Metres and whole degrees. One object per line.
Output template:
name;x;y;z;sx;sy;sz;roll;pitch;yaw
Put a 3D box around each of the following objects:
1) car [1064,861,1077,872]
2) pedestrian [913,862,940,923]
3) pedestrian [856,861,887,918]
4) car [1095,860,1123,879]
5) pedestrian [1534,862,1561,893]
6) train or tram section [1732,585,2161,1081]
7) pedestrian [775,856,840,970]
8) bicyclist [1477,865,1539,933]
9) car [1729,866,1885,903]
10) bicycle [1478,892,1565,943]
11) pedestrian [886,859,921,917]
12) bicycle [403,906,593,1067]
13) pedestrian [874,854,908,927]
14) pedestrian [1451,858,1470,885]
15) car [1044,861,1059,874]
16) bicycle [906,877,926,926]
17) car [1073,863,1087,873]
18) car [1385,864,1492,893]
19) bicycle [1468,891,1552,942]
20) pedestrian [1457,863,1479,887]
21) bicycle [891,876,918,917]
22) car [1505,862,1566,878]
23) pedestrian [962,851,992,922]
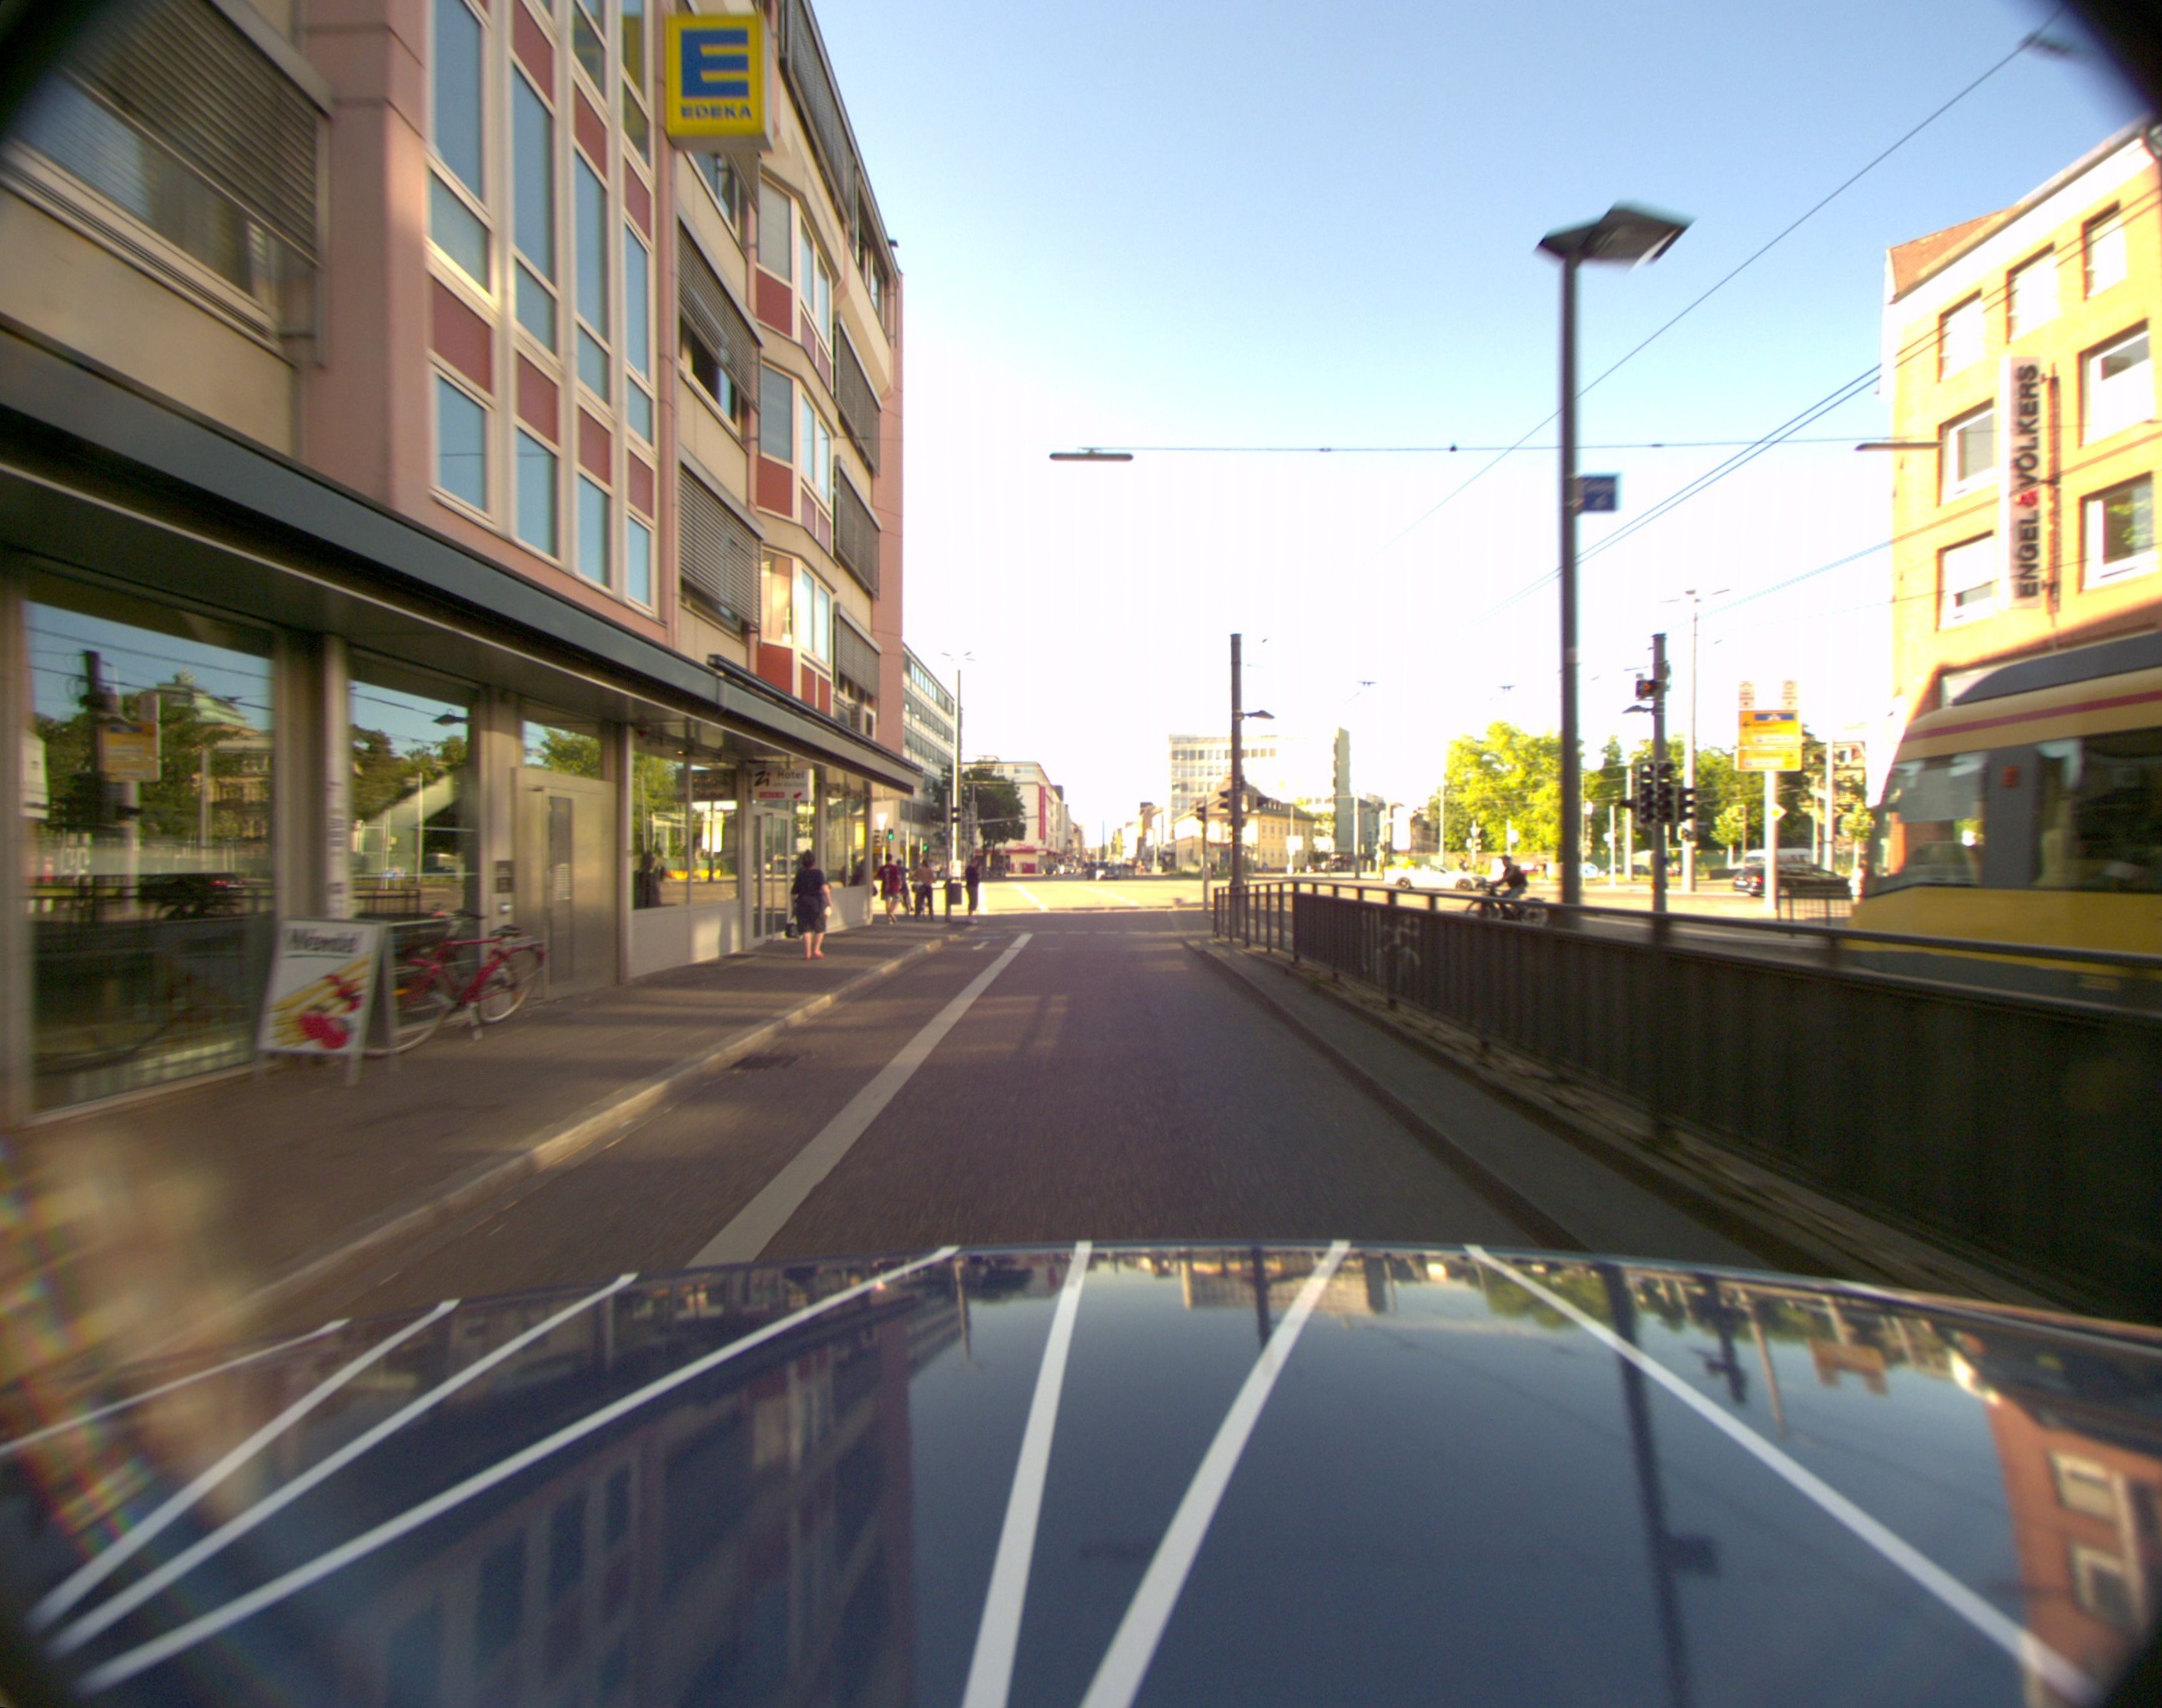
car;-1.465;1.636;103.105;1.771;1.458;3.812;-1;0;-2
pedestrian;-4.207;1.033;20.653;0.655;1.597;0.595;-2;0;-13
pedestrian;-6.184;1.035;22.417;0.670;1.613;0.648;-2;0;-35
car;2.259;1.221;61.392;1.999;1.496;3.999;0;0;-2
pedestrian;31.888;1.612;51.929;1.442;2.002;1.181;-2;0;37
train or tram section;9.316;-0.202;2.260;2.981;3.623;13.945;-2;0;1
pedestrian;-3.992;0.845;11.114;0.709;1.604;0.495;2;1;0
bicyclist;8.913;0.920;15.894;0.750;1.372;0.901;0;0;-4
car;31.533;1.282;33.178;4.526;1.527;2.002;0;0;14
bicycle;9.104;1.297;15.717;1.592;1.015;0.418;0;0;-5
pedestrian;-5.363;1.011;22.969;0.829;1.701;0.784;-2;0;-25
bicycle;-4.829;1.047;6.411;0.516;1.121;1.406;0;0;0
pedestrian;-4.643;0.880;18.602;0.671;1.751;0.680;-2;0;-7
pedestrian;28.308;1.297;56.608;1.108;2.002;1.215;-2;0;31
car;-3.676;1.648;94.057;1.771;1.458;3.812;-1;0;-2
bicycle;-4.431;1.256;20.379;0.430;1.206;1.822;-2;0;-14
car;-0.157;2.243;123.857;1.999;1.683;3.999;0;0;-3
car;18.402;1.229;39.206;4.679;1.351;2.004;0;0;37
bicycle;9.114;1.317;16.162;1.592;1.027;0.418;0;0;-5
pedestrian;34.450;1.866;67.697;1.530;2.002;1.663;-2;0;21
bicycle;-5.392;1.262;23.172;0.483;1.165;1.756;-2;0;-23
car;38.878;1.334;65.049;4.125;1.351;1.930;0;0;-6
pedestrian;-2.764;0.852;20.186;0.680;1.832;0.606;-2;0;-12
